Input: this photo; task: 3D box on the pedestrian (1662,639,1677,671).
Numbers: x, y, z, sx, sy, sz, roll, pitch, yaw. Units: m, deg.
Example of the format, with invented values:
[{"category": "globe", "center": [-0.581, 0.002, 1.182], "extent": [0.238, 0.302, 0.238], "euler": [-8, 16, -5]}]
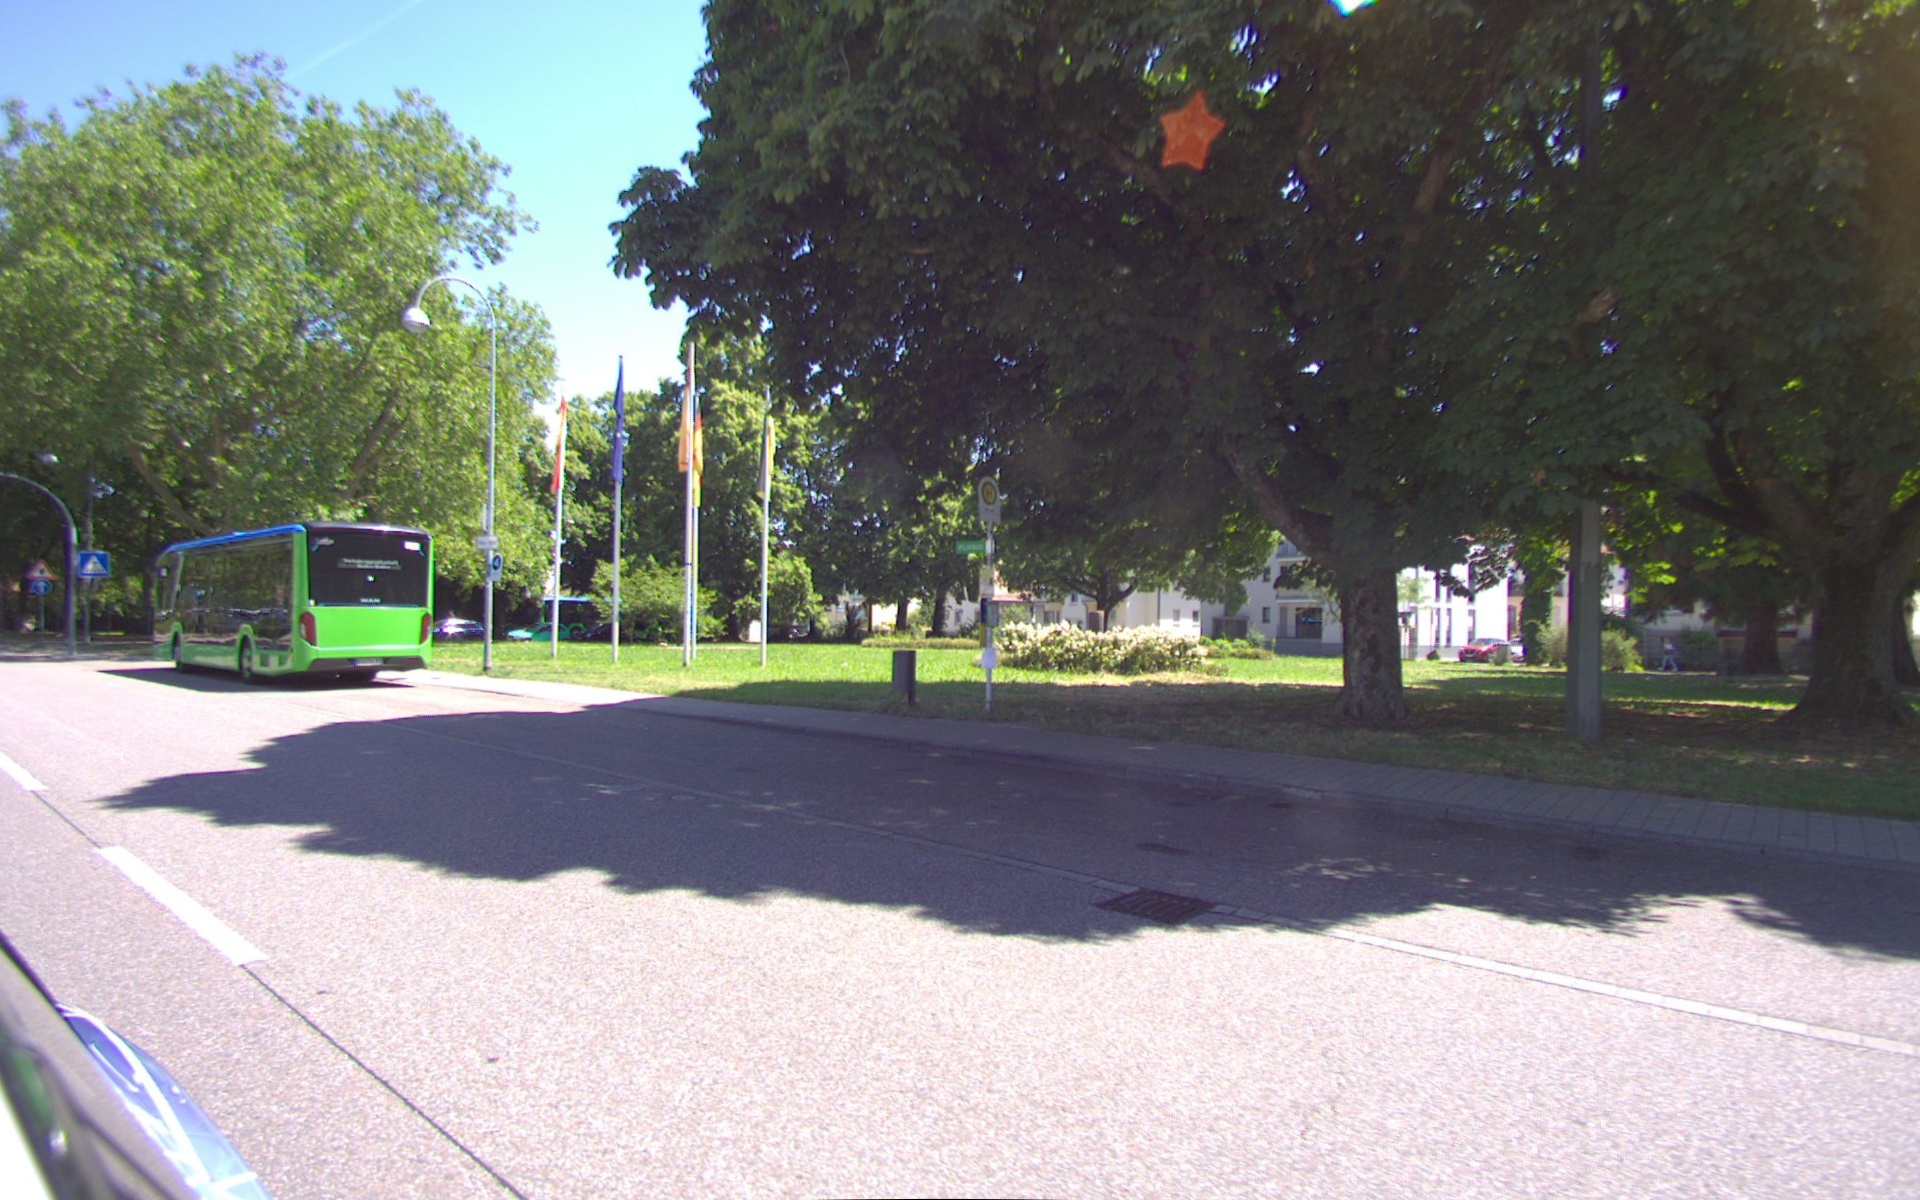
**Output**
[{"category": "pedestrian", "center": [34.487, 2.675, 49.174], "extent": [0.383, 1.502, 0.486], "euler": [2, -2, -33]}]

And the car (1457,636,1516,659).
[{"category": "car", "center": [32.335, 2.918, 62.166], "extent": [3.980, 1.359, 1.642], "euler": [2, -2, -36]}]

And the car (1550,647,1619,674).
[{"category": "car", "center": [33.721, 3.259, 54.617], "extent": [3.978, 1.359, 1.642], "euler": [2, -2, -33]}]

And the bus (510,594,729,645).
[{"category": "bus", "center": [-23.999, 1.530, 73.005], "extent": [2.876, 3.320, 15.734], "euler": [-1, -2, 40]}]

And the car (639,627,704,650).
[{"category": "car", "center": [-19.529, 2.603, 68.629], "extent": [1.759, 1.504, 3.865], "euler": [-1, -2, 40]}]

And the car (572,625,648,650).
[{"category": "car", "center": [-22.484, 2.410, 65.178], "extent": [1.759, 1.504, 4.316], "euler": [-1, -2, 40]}]

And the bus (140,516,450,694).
[{"category": "bus", "center": [-16.191, 0.193, 23.955], "extent": [12.417, 3.308, 2.779], "euler": [-1, -2, 41]}]

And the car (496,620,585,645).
[{"category": "car", "center": [-25.422, 1.978, 61.491], "extent": [1.755, 1.450, 4.705], "euler": [-1, -2, 40]}]
